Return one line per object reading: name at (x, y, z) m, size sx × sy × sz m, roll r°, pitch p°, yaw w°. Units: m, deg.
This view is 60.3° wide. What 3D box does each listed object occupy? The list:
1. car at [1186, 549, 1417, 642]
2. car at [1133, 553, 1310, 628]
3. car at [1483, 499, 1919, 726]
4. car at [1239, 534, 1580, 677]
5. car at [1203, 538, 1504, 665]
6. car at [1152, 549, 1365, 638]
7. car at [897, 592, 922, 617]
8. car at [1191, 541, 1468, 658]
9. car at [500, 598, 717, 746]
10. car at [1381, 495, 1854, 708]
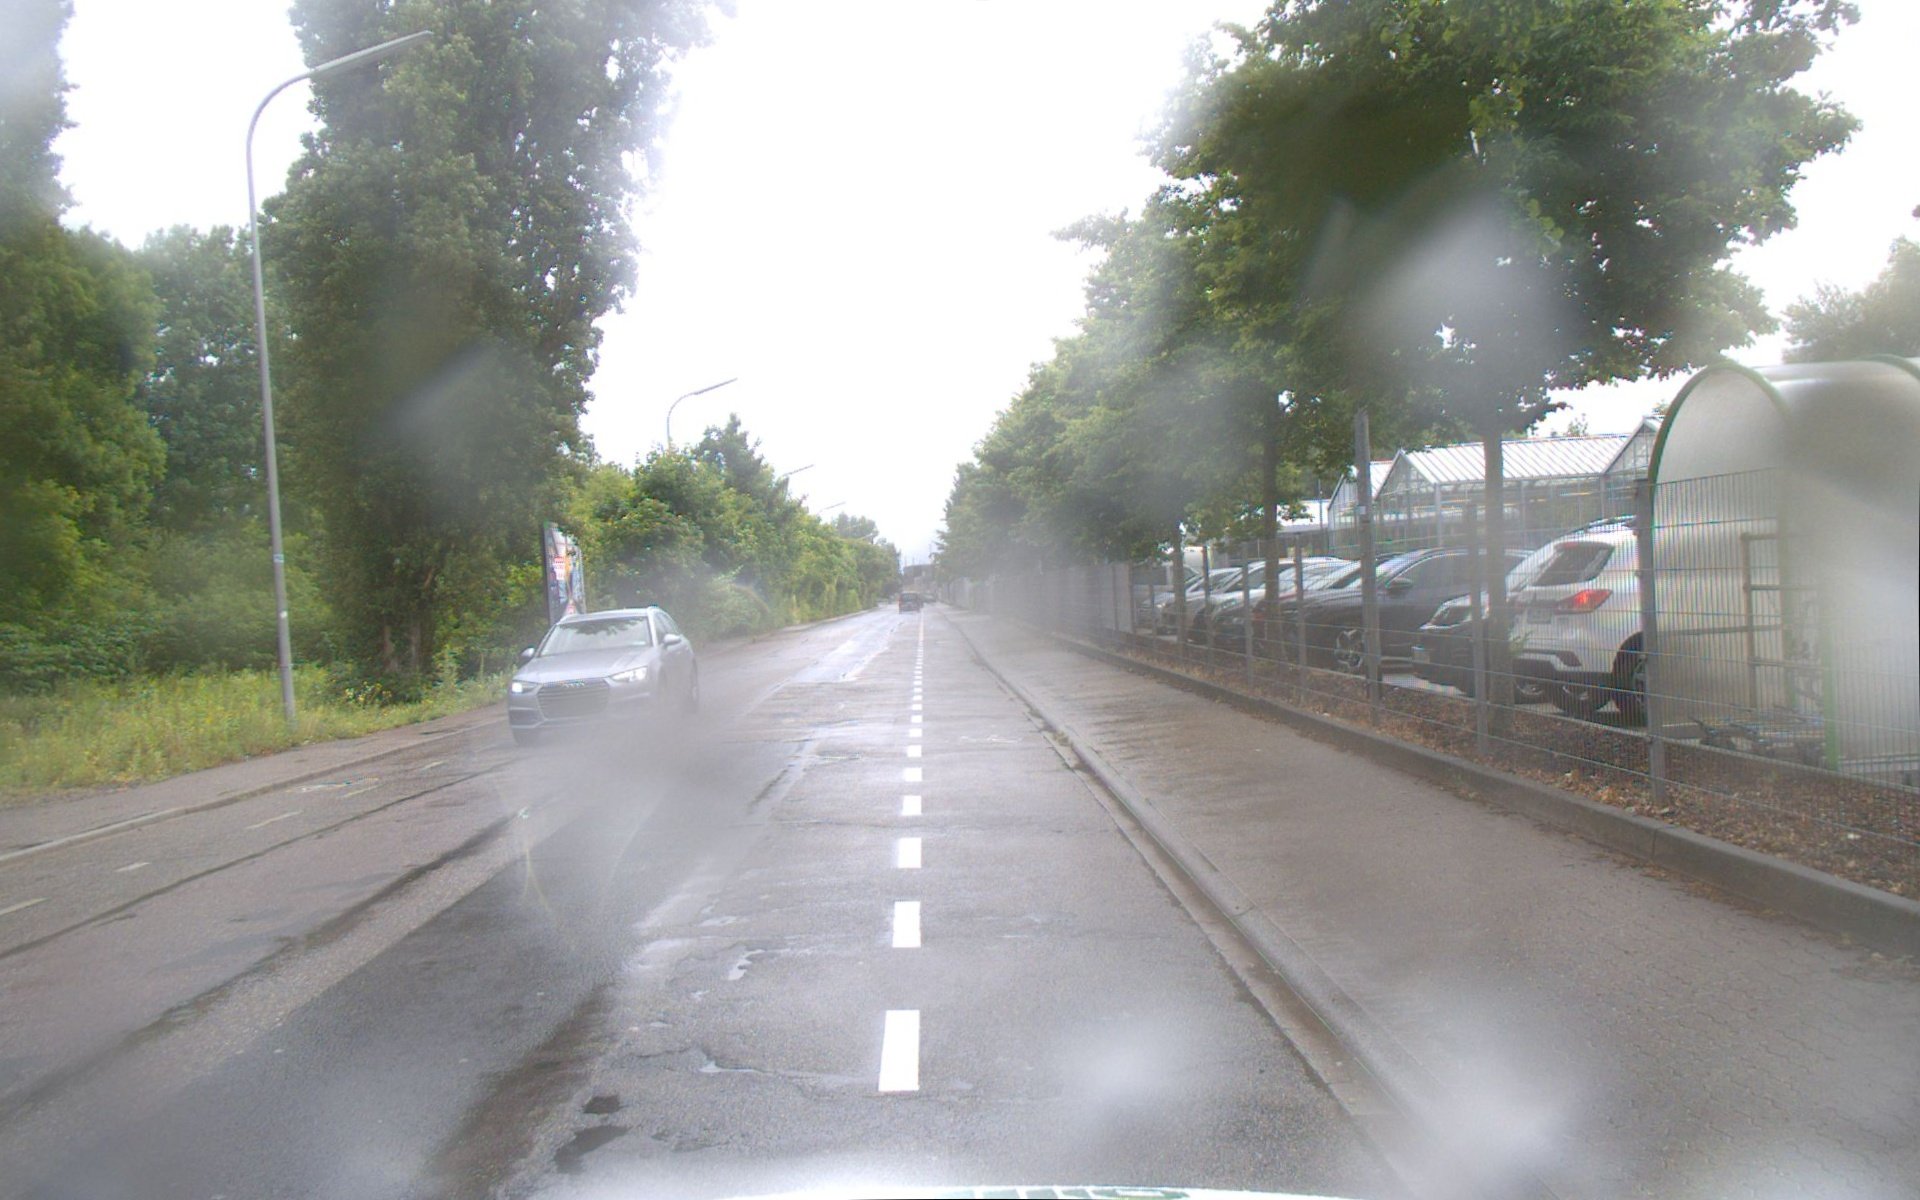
car at (6.821, -0.105, 33.252) m, size 4.131 × 1.560 × 1.820 m, roll -4°, pitch 0°, yaw -9°
car at (6.672, -0.241, 42.504) m, size 4.126 × 1.616 × 1.822 m, roll -4°, pitch 0°, yaw -4°
car at (6.888, 0.051, 14.215) m, size 4.124 × 1.628 × 1.823 m, roll -4°, pitch 0°, yaw -2°
car at (6.180, 0.055, 22.948) m, size 4.131 × 1.646 × 1.820 m, roll -4°, pitch 0°, yaw -9°
car at (6.085, 0.009, 25.819) m, size 4.131 × 1.646 × 1.820 m, roll -4°, pitch 0°, yaw -9°
car at (6.437, -0.145, 35.898) m, size 4.131 × 1.616 × 1.820 m, roll -4°, pitch 0°, yaw -9°
car at (-4.316, 0.405, 140.774) m, size 1.954 × 1.943 × 4.199 m, roll -4°, pitch -1°, yaw -2°
car at (6.193, -0.018, 27.964) m, size 4.131 × 1.646 × 1.820 m, roll -4°, pitch 0°, yaw -9°
car at (-4.314, 0.813, 20.971) m, size 1.699 × 1.475 × 4.380 m, roll -6°, pitch 0°, yaw 0°
car at (6.718, -0.010, 17.097) m, size 4.131 × 1.825 × 1.820 m, roll -4°, pitch 0°, yaw -9°
